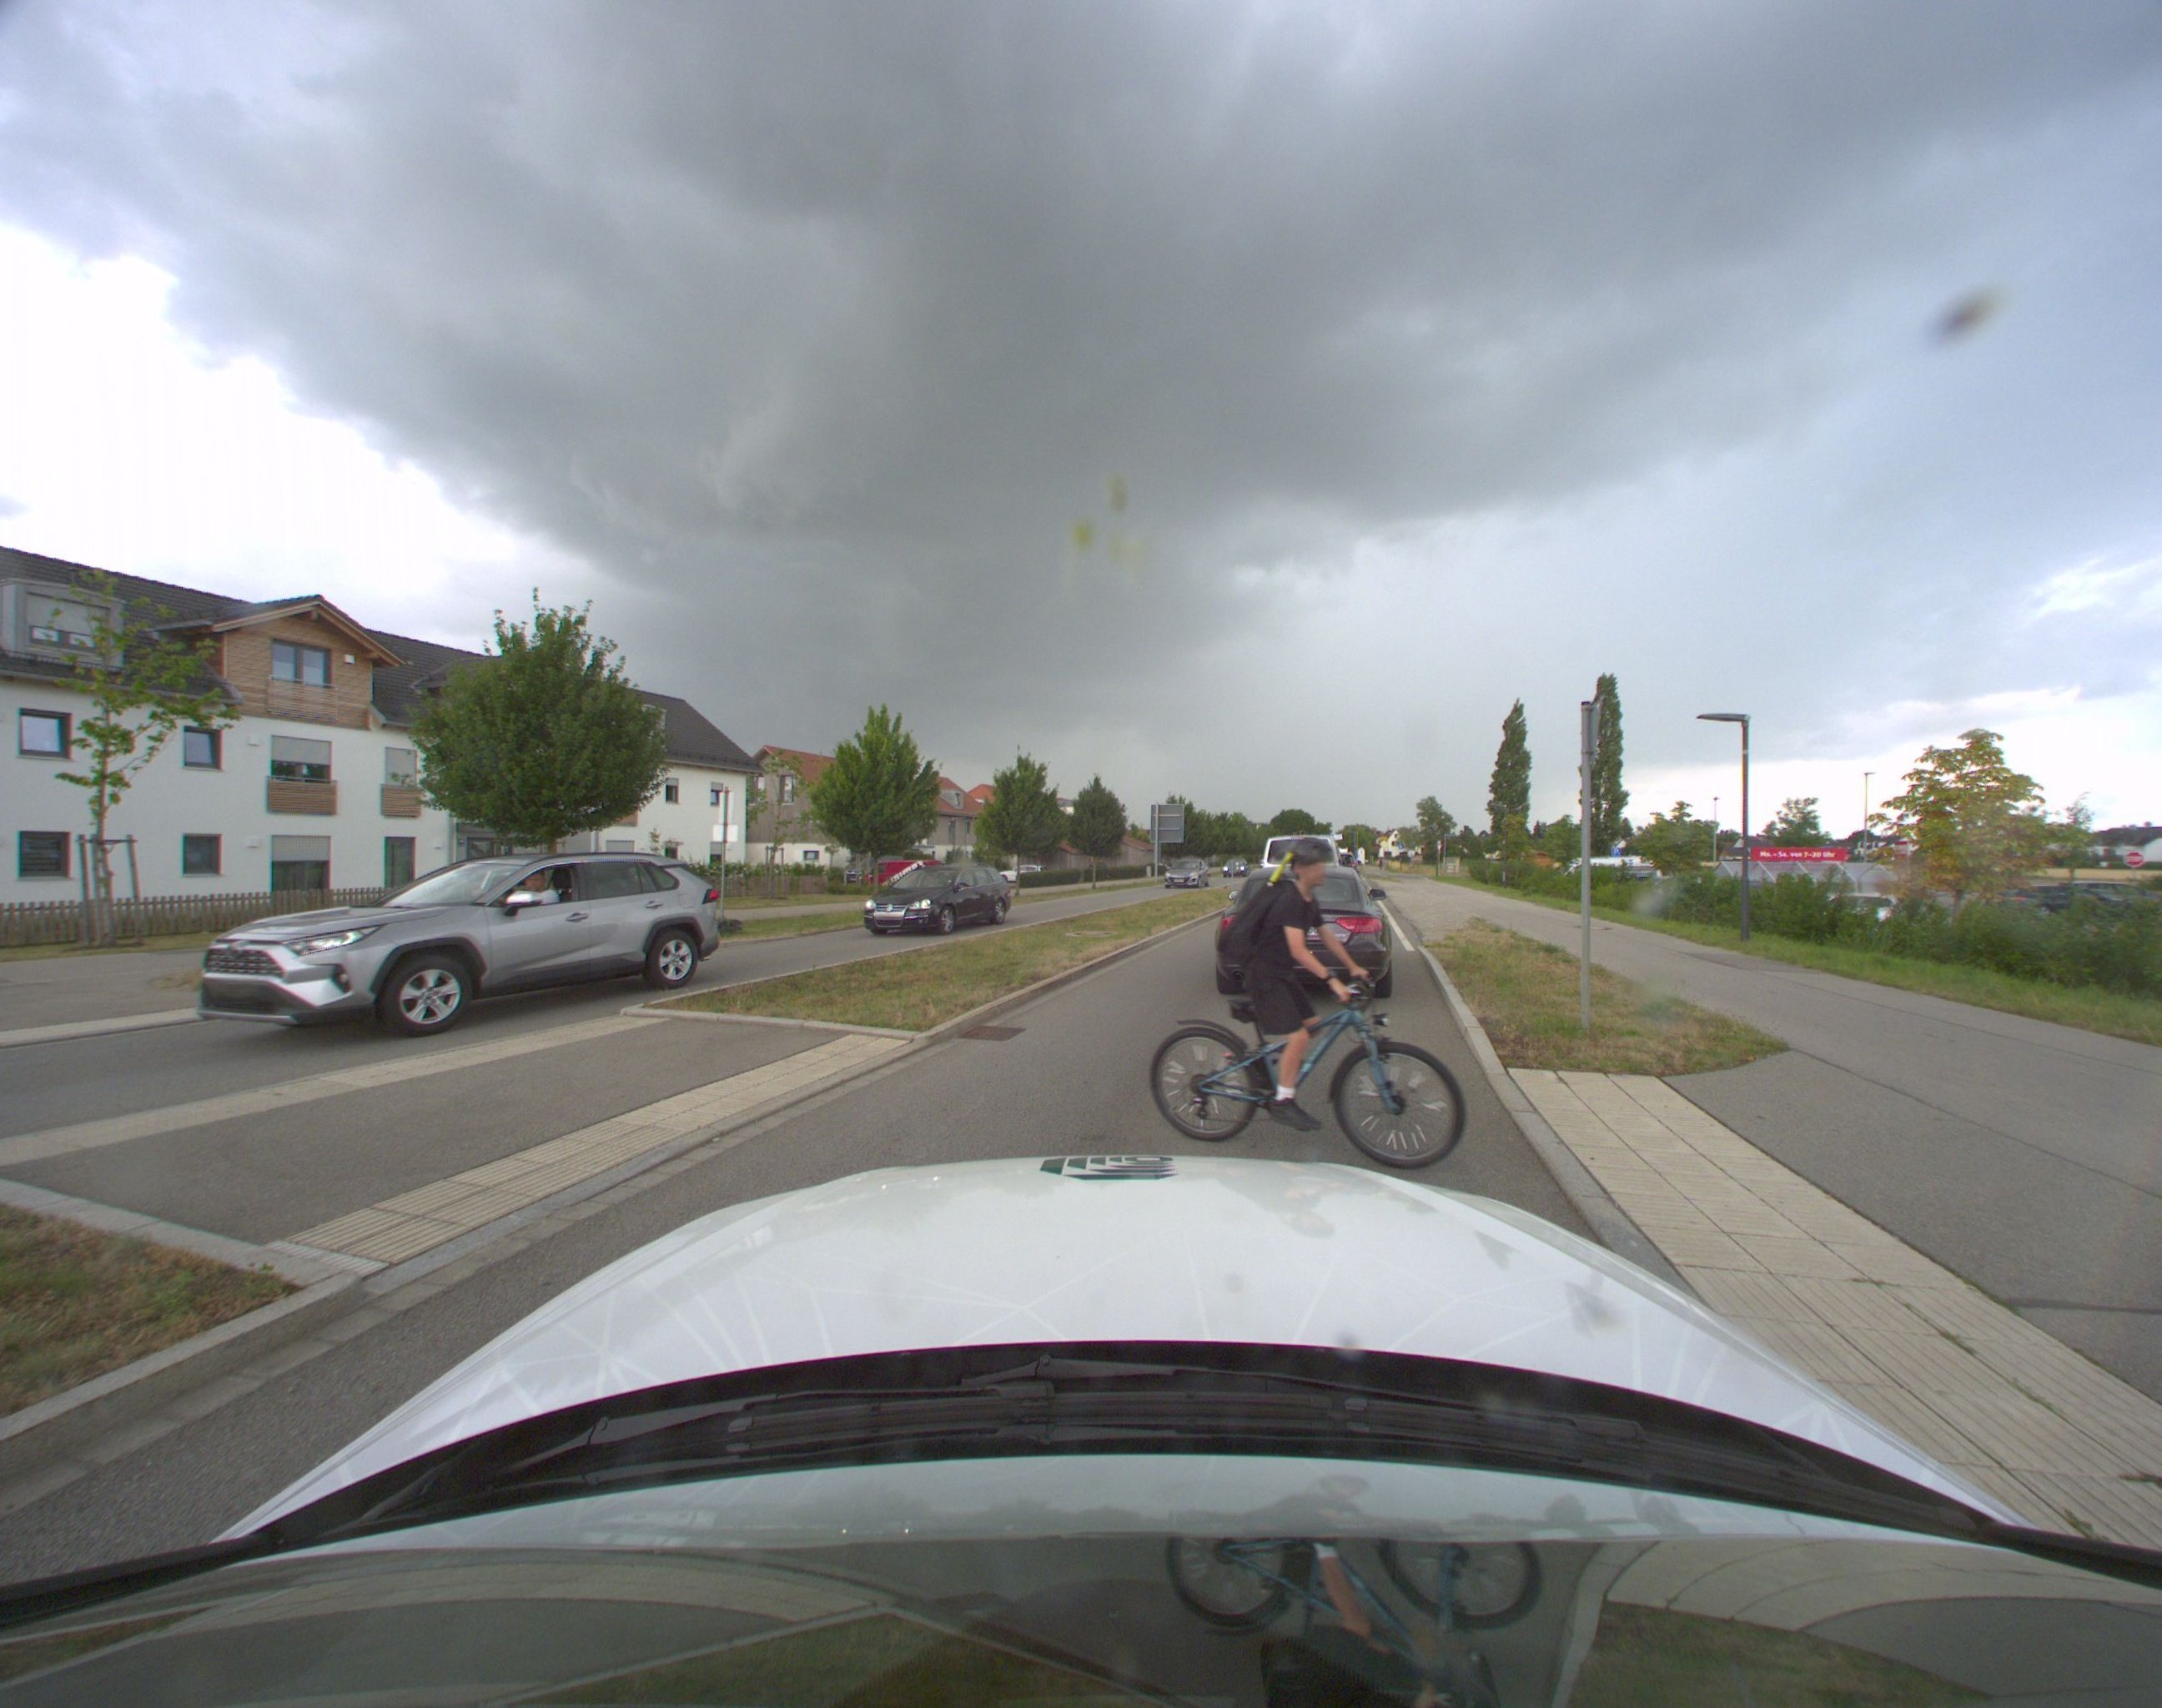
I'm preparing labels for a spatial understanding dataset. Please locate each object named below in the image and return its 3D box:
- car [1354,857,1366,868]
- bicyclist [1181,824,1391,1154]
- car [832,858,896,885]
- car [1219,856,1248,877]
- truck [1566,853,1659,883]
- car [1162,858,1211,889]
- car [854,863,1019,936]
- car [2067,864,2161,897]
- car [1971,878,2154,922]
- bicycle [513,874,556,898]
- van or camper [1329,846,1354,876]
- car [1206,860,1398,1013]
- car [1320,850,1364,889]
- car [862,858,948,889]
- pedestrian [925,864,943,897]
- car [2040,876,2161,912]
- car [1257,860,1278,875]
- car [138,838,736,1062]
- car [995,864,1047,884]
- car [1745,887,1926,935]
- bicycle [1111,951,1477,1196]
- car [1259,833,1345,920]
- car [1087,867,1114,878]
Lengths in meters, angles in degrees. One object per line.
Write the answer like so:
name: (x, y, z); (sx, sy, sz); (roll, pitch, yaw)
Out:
car: (40.977, 1.213, 119.548); (1.600, 1.631, 3.633); (1, 0, 19)
bicyclist: (1.044, 0.596, 4.085); (0.858, 1.446, 0.729); (-1, 0, 26)
car: (-15.036, 1.220, 56.669); (1.976, 1.772, 4.489); (0, -1, 23)
car: (12.093, 0.959, 64.480); (1.853, 1.574, 4.017); (0, 0, 17)
truck: (34.956, 0.886, 53.694); (4.762, 1.872, 2.007); (1, -1, 14)
car: (5.495, 0.960, 42.020); (1.716, 1.410, 4.226); (2, 1, 18)
car: (-3.051, 0.933, 18.221); (1.740, 1.416, 4.475); (-2, -1, 17)
car: (66.104, 1.688, 51.684); (3.953, 1.837, 2.011); (3, 0, 22)
car: (40.805, 1.878, 34.016); (4.520, 1.664, 2.009); (0, 0, 18)
bicycle: (-20.376, 1.184, 30.396); (0.364, 0.843, 1.344); (3, 0, 20)
van or camper: (30.640, 0.823, 95.833); (2.604, 3.324, 6.852); (1, -1, 18)
car: (2.671, 0.784, 9.787); (1.770, 1.391, 4.150); (0, 0, 16)
car: (11.667, 0.656, 36.310); (1.762, 1.618, 4.019); (0, 0, 19)
car: (-10.243, 1.086, 47.365); (4.491, 1.680, 2.010); (0, 0, 21)
pedestrian: (-7.025, 1.259, 38.921); (0.577, 1.559, 0.663); (0, 0, 16)
car: (48.331, 1.850, 38.047); (4.277, 1.578, 1.776); (0, 0, 20)
car: (19.905, 1.405, 86.781); (1.853, 1.574, 4.017); (0, 0, 17)
car: (-6.203, 0.760, 8.715); (1.977, 1.704, 4.657); (-1, -1, 19)
car: (-4.739, 1.581, 64.652); (3.702, 1.482, 1.693); (1, 0, 15)
car: (26.071, 1.945, 28.329); (4.199, 1.440, 2.009); (0, 0, 18)
bicycle: (1.039, 1.016, 4.106); (1.692, 0.946, 0.500); (-1, -1, 26)
car: (5.535, 0.504, 20.276); (1.853, 1.934, 4.017); (0, 0, 16)
car: (1.897, 1.746, 78.407); (2.455, 1.028, 1.189); (0, 0, 12)
